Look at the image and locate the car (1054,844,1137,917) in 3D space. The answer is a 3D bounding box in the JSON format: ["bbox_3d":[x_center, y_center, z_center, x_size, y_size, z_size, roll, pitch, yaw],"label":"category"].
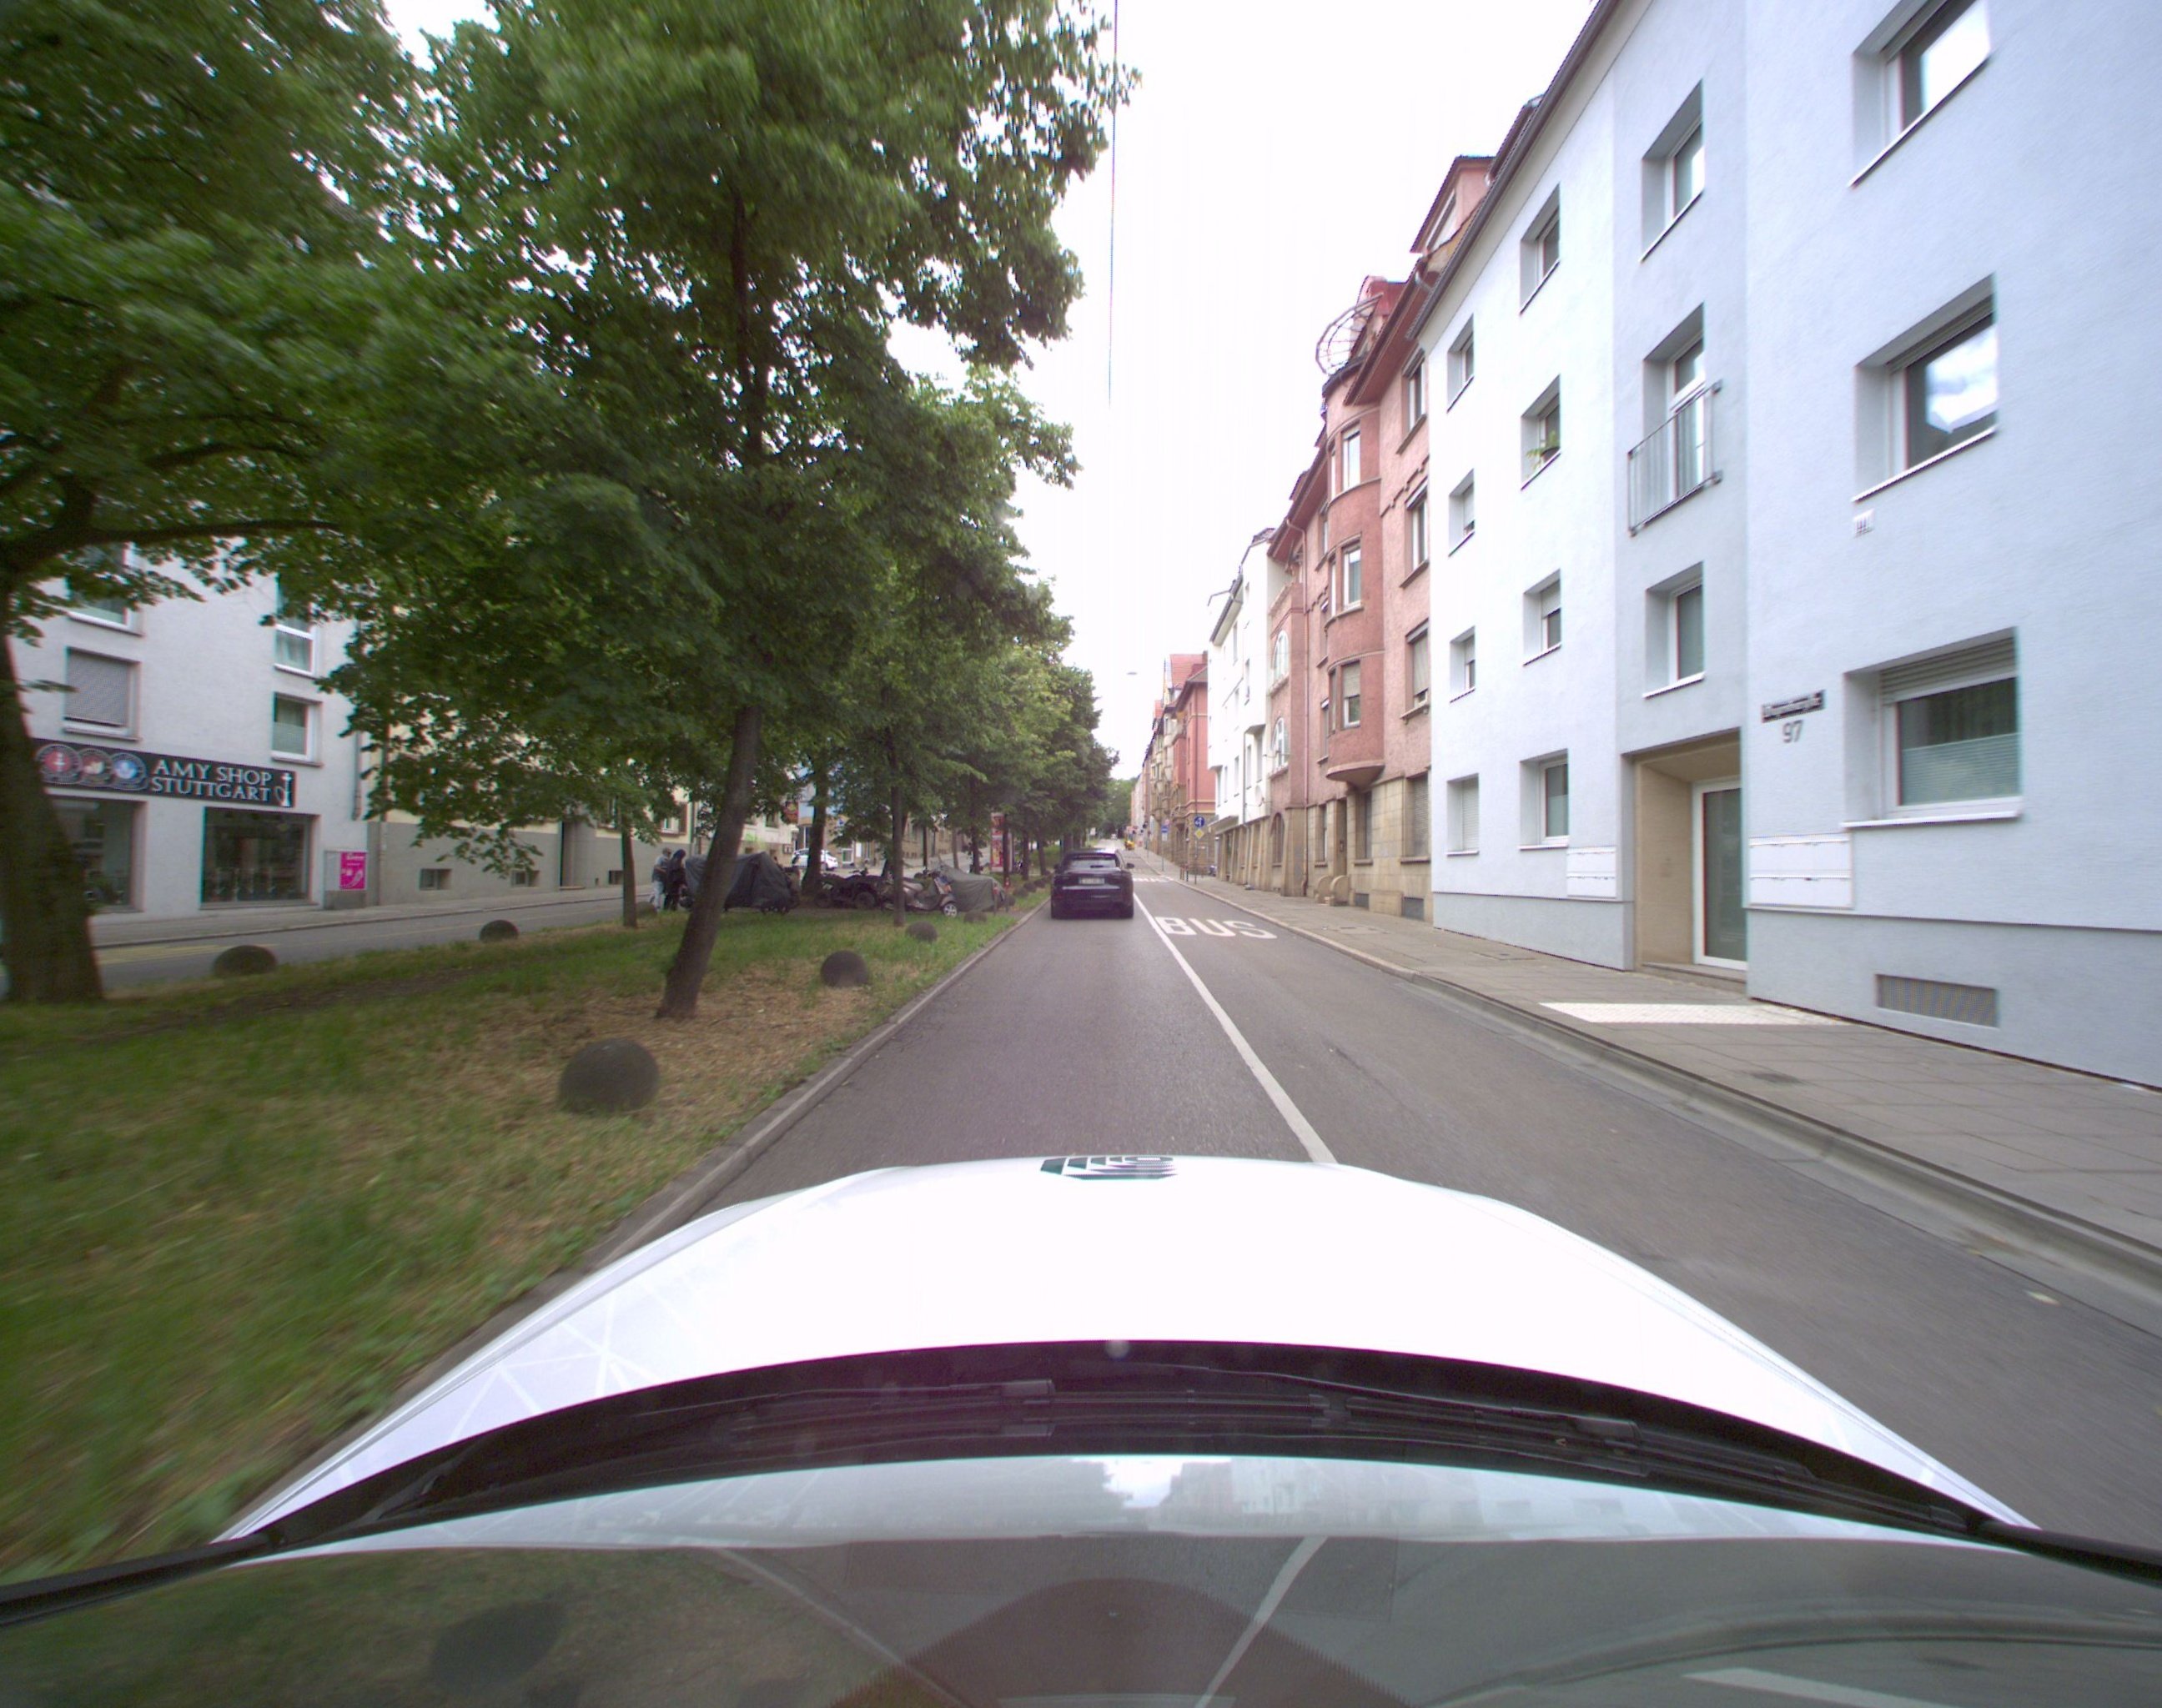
[{"bbox_3d":[0.341,0.594,20.639,1.897,1.666,4.135,0,0,0],"label":"car"}]

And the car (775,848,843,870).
[{"bbox_3d":[-18.865,0.308,56.596,3.972,1.497,2.001,0,0,1],"label":"car"}]

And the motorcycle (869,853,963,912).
[{"bbox_3d":[-3.692,0.647,18.386,1.918,1.297,0.893,0,-2,-1],"label":"motorcycle"}]

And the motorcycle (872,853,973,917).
[{"bbox_3d":[-3.733,0.706,19.289,2.184,1.438,0.875,1,0,3],"label":"motorcycle"}]

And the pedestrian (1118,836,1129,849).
[{"bbox_3d":[6.563,-1.795,124.786,1.310,2.013,1.009,0,0,-33],"label":"pedestrian"}]

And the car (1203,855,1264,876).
[{"bbox_3d":[10.441,0.750,55.651,4.019,1.376,1.977,-1,0,-38],"label":"car"}]

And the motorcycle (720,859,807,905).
[{"bbox_3d":[-8.673,0.760,22.264,2.123,1.235,0.622,-1,-1,1],"label":"motorcycle"}]

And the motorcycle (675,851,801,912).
[{"bbox_3d":[-7.716,0.603,18.411,2.374,1.317,1.046,0,0,0],"label":"motorcycle"}]

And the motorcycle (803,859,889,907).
[{"bbox_3d":[-6.248,0.760,21.716,2.018,1.235,0.898,0,0,6],"label":"motorcycle"}]

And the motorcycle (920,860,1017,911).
[{"bbox_3d":[-2.896,0.809,21.187,2.348,1.235,1.033,0,1,0],"label":"motorcycle"}]

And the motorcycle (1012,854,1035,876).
[{"bbox_3d":[-3.202,0.599,45.617,1.058,1.148,2.449,0,0,2],"label":"motorcycle"}]

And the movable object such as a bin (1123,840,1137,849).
[{"bbox_3d":[7.455,-1.415,123.864,1.247,1.274,1.825,0,0,-39],"label":"movable object such as a bin"}]

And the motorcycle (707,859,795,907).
[{"bbox_3d":[-8.731,0.753,21.606,2.103,1.235,0.516,0,0,0],"label":"motorcycle"}]

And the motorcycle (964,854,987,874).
[{"bbox_3d":[-5.867,0.587,45.546,0.897,1.107,2.252,0,-1,2],"label":"motorcycle"}]

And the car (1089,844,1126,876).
[{"bbox_3d":[1.508,0.309,46.426,1.986,1.753,4.002,0,0,2],"label":"car"}]

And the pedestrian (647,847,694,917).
[{"bbox_3d":[-9.702,0.639,19.273,0.631,1.613,0.766,1,0,8],"label":"pedestrian"}]

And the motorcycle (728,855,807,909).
[{"bbox_3d":[-8.068,0.714,20.994,1.756,1.339,0.624,-1,-1,0],"label":"motorcycle"}]

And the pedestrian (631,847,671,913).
[{"bbox_3d":[-10.726,0.630,20.330,0.660,1.616,0.580,1,0,3],"label":"pedestrian"}]
